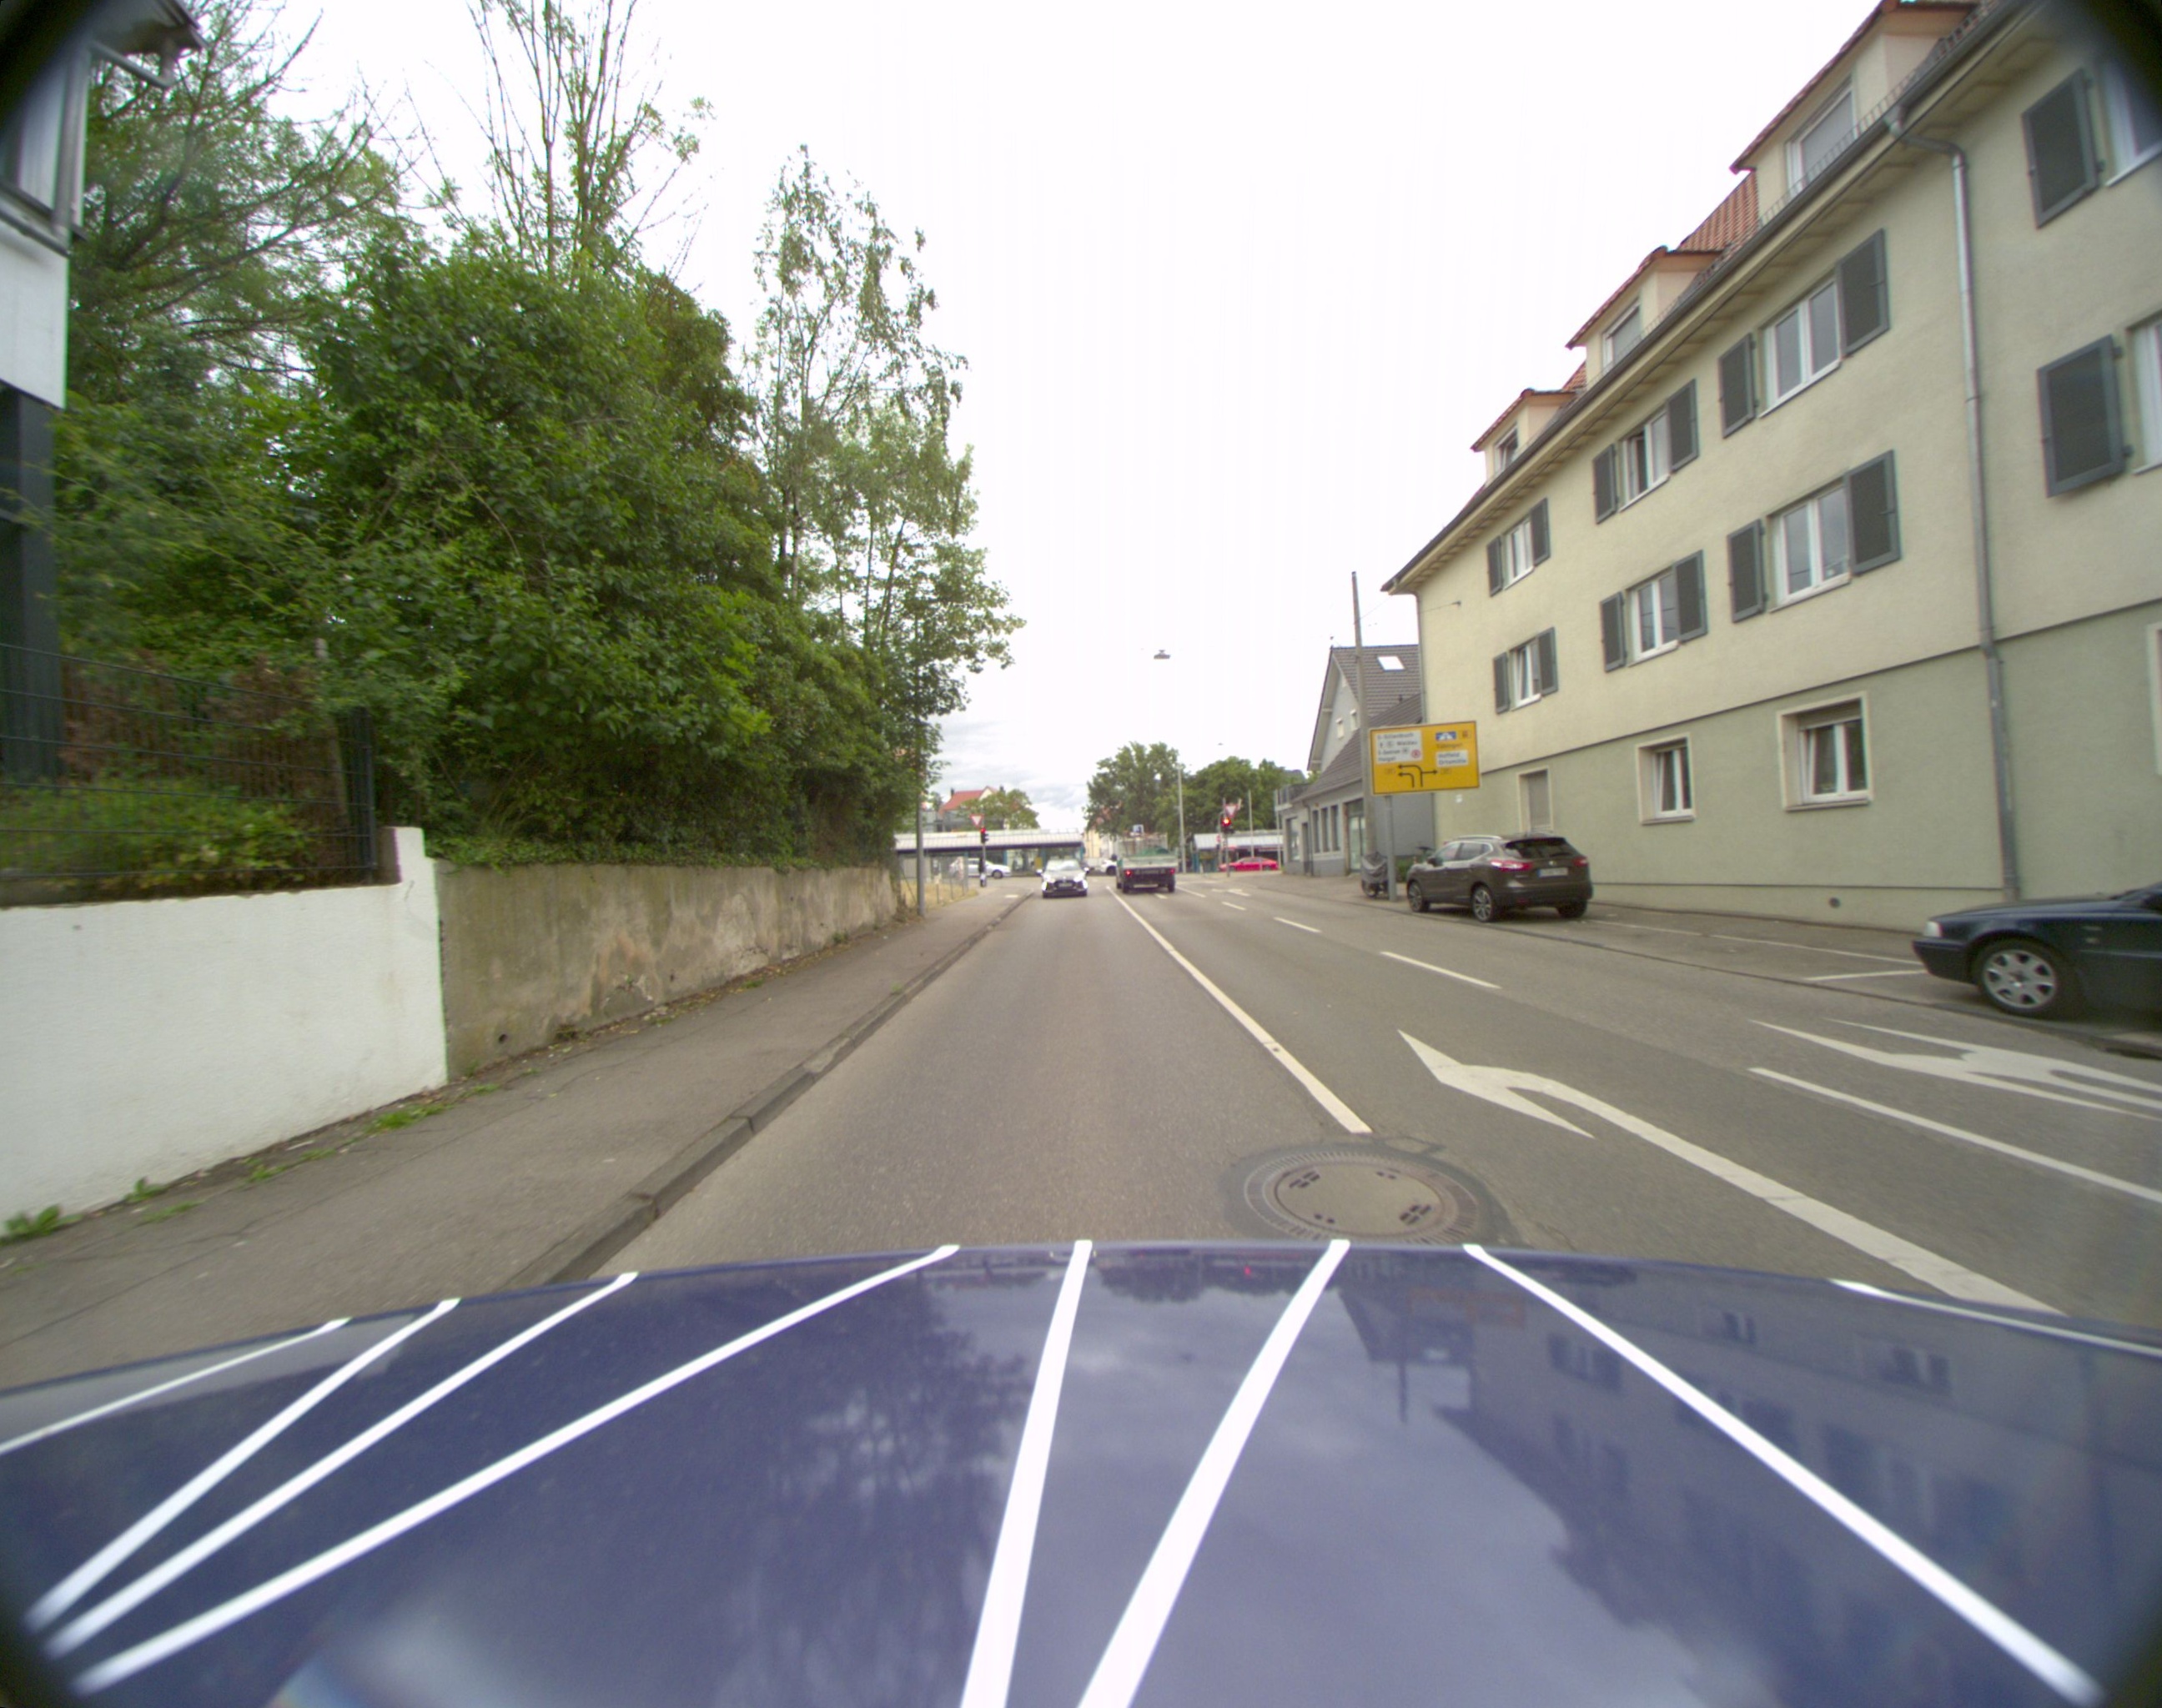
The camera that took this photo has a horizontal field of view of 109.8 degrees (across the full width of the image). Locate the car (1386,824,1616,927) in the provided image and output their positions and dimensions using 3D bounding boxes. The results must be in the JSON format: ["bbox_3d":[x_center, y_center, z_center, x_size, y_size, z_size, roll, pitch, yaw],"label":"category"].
[{"bbox_3d":[8.050,0.366,15.198,1.827,1.623,4.695,-3,0,-2],"label":"car"}]

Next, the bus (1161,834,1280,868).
[{"bbox_3d":[14.277,-0.284,78.258,11.846,3.044,2.001,-2,-2,3],"label":"bus"}]

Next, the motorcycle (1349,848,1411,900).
[{"bbox_3d":[7.954,0.506,20.303,0.627,1.283,2.229,-4,0,-2],"label":"motorcycle"}]

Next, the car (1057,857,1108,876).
[{"bbox_3d":[0.080,0.980,62.379,3.999,1.401,1.779,-2,0,-6],"label":"car"}]

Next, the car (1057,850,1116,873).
[{"bbox_3d":[0.363,0.560,54.638,3.999,1.503,1.999,-2,0,-5],"label":"car"}]

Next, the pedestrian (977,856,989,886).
[{"bbox_3d":[-5.179,0.907,40.119,0.553,1.581,0.672,0,1,-2],"label":"pedestrian"}]

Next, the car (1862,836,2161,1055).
[{"bbox_3d":[7.976,0.594,4.471,1.715,1.395,4.845,-3,0,-1],"label":"car"}]

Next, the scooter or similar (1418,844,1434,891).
[{"bbox_3d":[9.809,0.369,21.621,0.357,1.258,0.987,-3,1,24],"label":"scooter or similar"}]

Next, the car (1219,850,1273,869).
[{"bbox_3d":[13.714,0.457,63.305,3.997,1.401,1.780,-2,0,0],"label":"car"}]

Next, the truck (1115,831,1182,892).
[{"bbox_3d":[2.677,0.266,31.658,2.126,2.188,6.589,-3,0,0],"label":"truck"}]

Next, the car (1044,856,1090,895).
[{"bbox_3d":[-0.531,0.808,29.684,1.646,1.390,3.781,-1,0,-1],"label":"car"}]

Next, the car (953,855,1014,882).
[{"bbox_3d":[-6.602,0.985,51.795,3.999,1.683,1.974,-2,0,-6],"label":"car"}]
